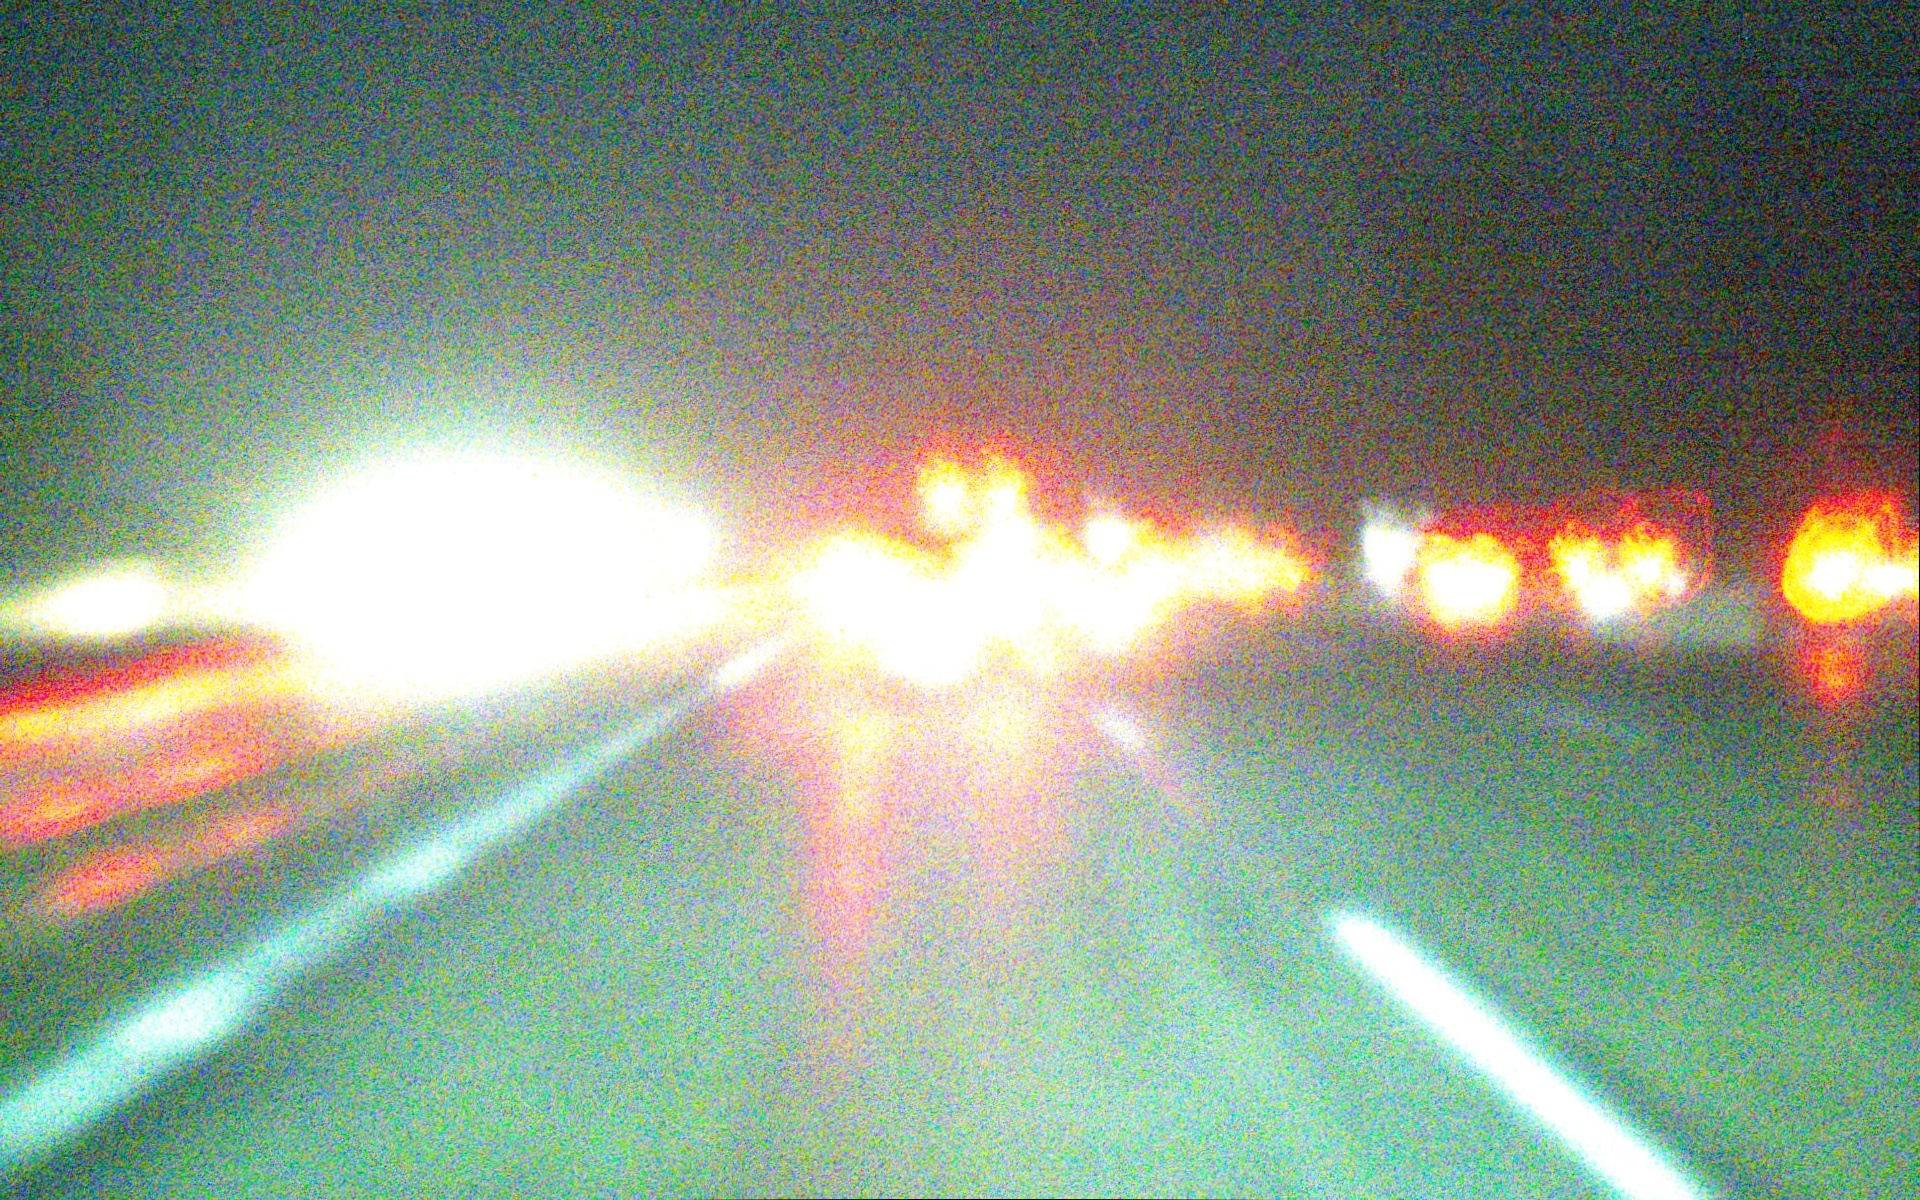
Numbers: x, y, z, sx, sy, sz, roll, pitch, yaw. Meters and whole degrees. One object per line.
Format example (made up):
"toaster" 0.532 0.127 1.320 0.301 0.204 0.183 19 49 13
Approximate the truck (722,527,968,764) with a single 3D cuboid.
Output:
"truck" -1.038 0.383 34.462 2.145 2.070 6.604 2 1 0

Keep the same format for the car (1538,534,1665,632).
"car" 13.696 -0.400 73.601 2.233 2.007 4.000 1 1 4

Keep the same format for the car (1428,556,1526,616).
"car" 14.490 -0.401 96.565 1.993 1.595 4.000 2 1 -1

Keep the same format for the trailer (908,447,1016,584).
"trailer" -0.015 -3.452 135.726 2.738 4.232 13.378 4 5 -6

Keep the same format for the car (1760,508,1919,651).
"car" 13.473 -0.341 51.473 2.063 2.007 5.448 1 1 4

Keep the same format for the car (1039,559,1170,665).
"car" 2.332 0.172 56.477 1.800 1.612 4.257 -2 1 -2

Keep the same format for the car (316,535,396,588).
"car" -20.616 -1.318 117.461 1.993 1.714 4.288 2 1 -1
